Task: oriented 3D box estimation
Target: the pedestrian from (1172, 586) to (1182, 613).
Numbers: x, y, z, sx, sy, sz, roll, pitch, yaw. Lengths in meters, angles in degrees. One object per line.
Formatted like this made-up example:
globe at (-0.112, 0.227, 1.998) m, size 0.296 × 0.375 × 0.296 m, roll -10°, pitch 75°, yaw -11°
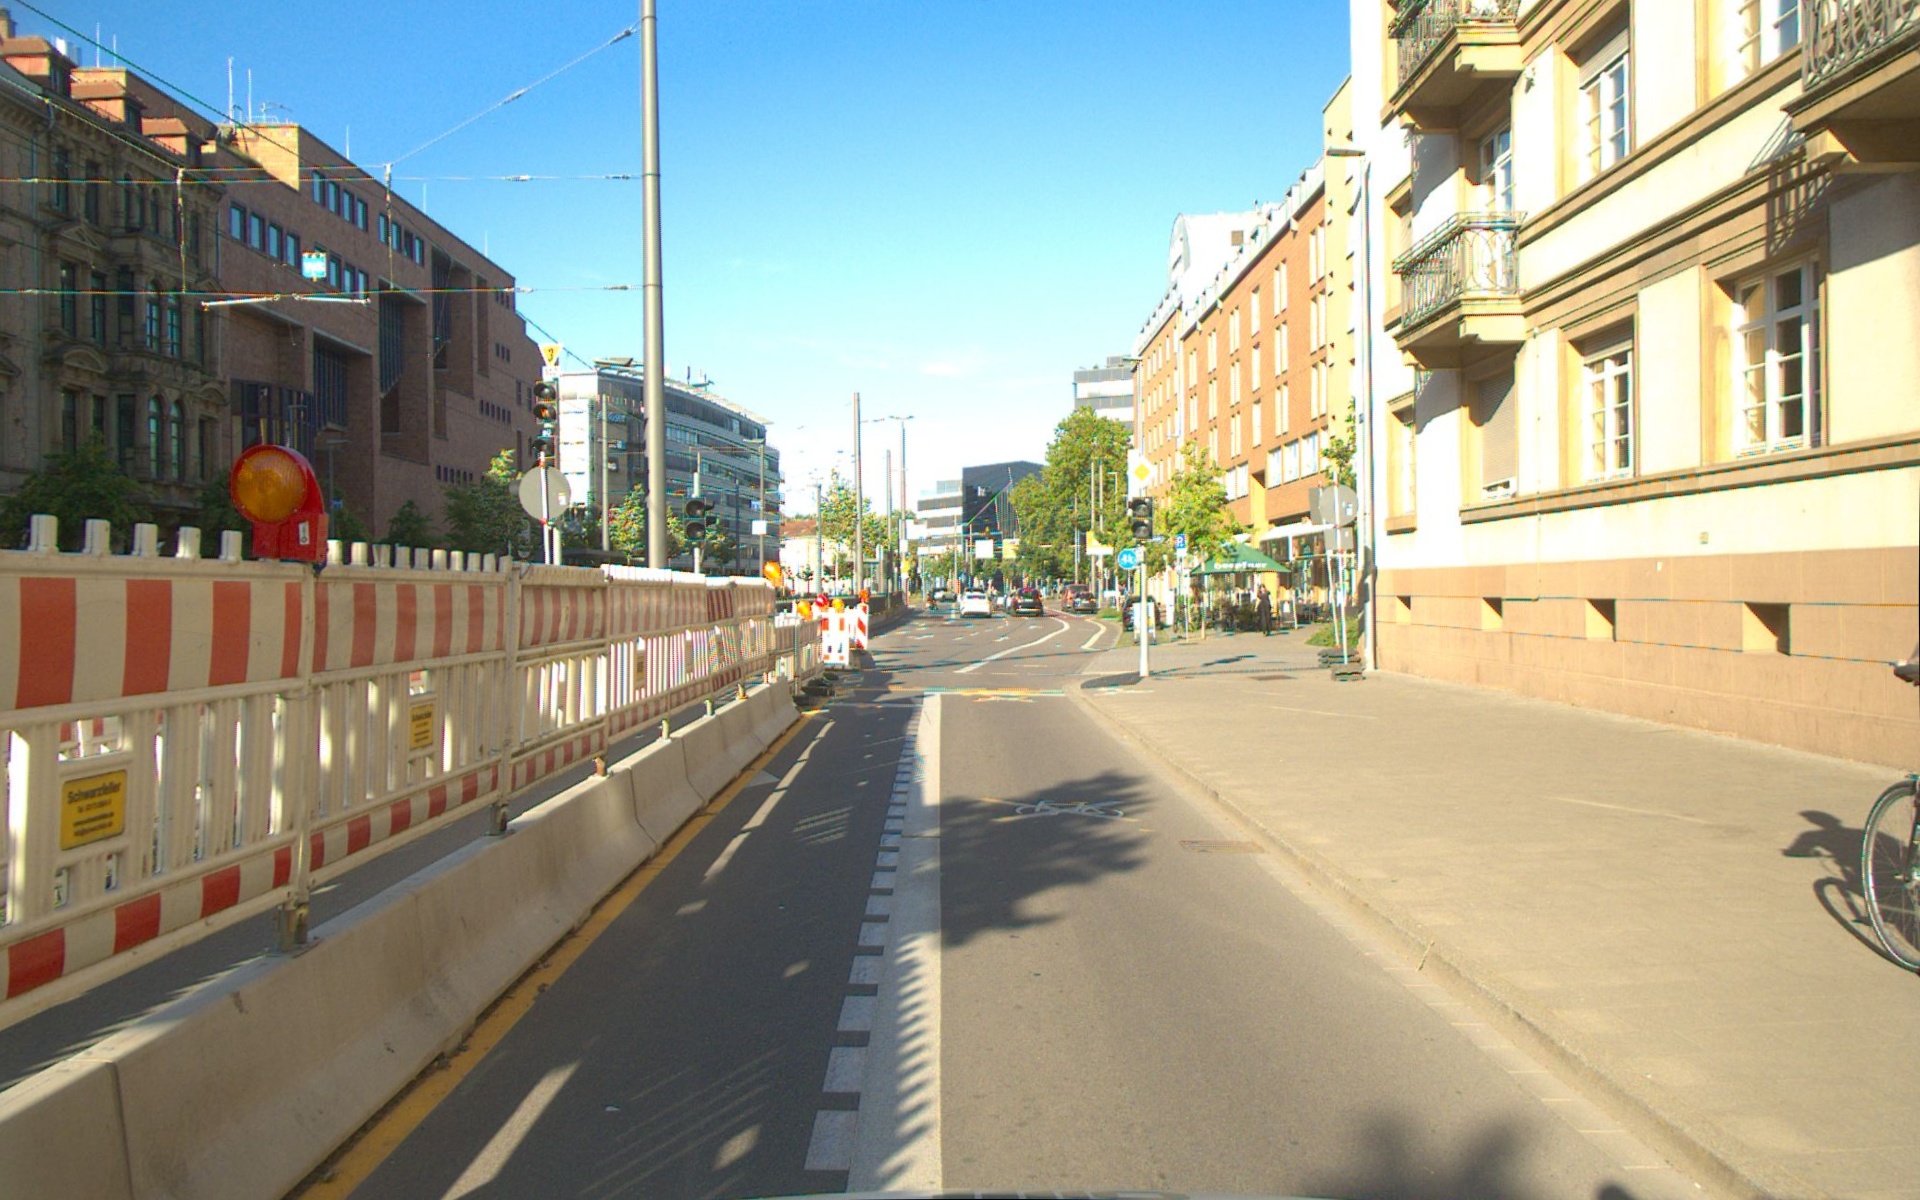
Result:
pedestrian at (14.657, -0.028, 111.735) m, size 0.594 × 1.853 × 0.748 m, roll 1°, pitch 0°, yaw -1°

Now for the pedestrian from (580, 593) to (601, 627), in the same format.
pedestrian at (-14.852, 0.381, 66.559) m, size 0.633 × 1.331 × 0.721 m, roll -2°, pitch 0°, yaw 0°

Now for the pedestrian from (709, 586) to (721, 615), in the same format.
pedestrian at (-14.661, 0.016, 98.949) m, size 0.627 × 1.725 × 0.541 m, roll 1°, pitch 0°, yaw 0°

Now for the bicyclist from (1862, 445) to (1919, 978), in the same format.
bicyclist at (3.589, 0.373, 5.425) m, size 0.718 × 1.794 × 0.937 m, roll -1°, pitch 0°, yaw -1°

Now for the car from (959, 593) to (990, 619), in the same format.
car at (0.820, 0.321, 98.476) m, size 1.744 × 1.439 × 4.818 m, roll 1°, pitch 0°, yaw 0°

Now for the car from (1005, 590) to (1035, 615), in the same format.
car at (4.049, 0.155, 111.794) m, size 1.813 × 1.668 × 4.378 m, roll 0°, pitch 0°, yaw 0°

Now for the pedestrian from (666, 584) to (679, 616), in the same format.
pedestrian at (-15.901, -0.004, 91.477) m, size 0.610 × 1.744 × 0.616 m, roll 1°, pitch 0°, yaw 0°

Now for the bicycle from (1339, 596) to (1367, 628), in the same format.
bicycle at (15.372, 0.458, 64.754) m, size 0.601 × 1.190 × 1.536 m, roll -2°, pitch 0°, yaw -3°

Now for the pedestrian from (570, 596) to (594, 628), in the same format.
pedestrian at (-14.742, 0.467, 64.521) m, size 0.706 × 1.188 × 0.721 m, roll -2°, pitch 0°, yaw 0°

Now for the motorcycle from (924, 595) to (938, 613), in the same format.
motorcycle at (-2.179, 0.303, 124.118) m, size 0.998 × 1.335 × 2.914 m, roll 1°, pitch 0°, yaw 0°

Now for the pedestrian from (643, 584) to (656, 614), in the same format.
pedestrian at (-15.555, -0.042, 82.902) m, size 0.528 × 1.485 × 0.642 m, roll 1°, pitch 0°, yaw 0°

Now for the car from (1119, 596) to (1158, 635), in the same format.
car at (8.109, 0.693, 75.072) m, size 1.684 × 1.665 × 4.234 m, roll -1°, pitch 0°, yaw 6°

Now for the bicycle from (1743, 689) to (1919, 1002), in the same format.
bicycle at (3.588, 0.857, 5.638) m, size 0.752 × 0.969 × 2.197 m, roll -1°, pitch 0°, yaw -1°

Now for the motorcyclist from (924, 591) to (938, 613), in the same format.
motorcyclist at (-2.181, 0.126, 124.132) m, size 0.998 × 1.631 × 1.148 m, roll 1°, pitch 0°, yaw 0°

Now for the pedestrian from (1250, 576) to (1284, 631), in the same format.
pedestrian at (10.327, 0.126, 55.691) m, size 0.866 × 1.794 × 1.105 m, roll -3°, pitch -1°, yaw 22°

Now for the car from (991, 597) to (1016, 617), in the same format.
car at (3.363, 0.548, 128.890) m, size 1.813 × 1.524 × 4.378 m, roll 0°, pitch 0°, yaw 0°

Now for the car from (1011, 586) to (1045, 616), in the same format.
car at (4.265, 0.041, 104.158) m, size 1.934 × 1.790 × 4.632 m, roll 1°, pitch 0°, yaw 0°

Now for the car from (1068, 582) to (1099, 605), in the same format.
car at (8.653, -0.468, 116.386) m, size 1.809 × 1.588 × 4.632 m, roll 1°, pitch 0°, yaw 0°

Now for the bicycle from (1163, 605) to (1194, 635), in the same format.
bicycle at (8.579, 0.788, 65.144) m, size 0.750 × 1.100 × 1.996 m, roll -5°, pitch -1°, yaw -4°
